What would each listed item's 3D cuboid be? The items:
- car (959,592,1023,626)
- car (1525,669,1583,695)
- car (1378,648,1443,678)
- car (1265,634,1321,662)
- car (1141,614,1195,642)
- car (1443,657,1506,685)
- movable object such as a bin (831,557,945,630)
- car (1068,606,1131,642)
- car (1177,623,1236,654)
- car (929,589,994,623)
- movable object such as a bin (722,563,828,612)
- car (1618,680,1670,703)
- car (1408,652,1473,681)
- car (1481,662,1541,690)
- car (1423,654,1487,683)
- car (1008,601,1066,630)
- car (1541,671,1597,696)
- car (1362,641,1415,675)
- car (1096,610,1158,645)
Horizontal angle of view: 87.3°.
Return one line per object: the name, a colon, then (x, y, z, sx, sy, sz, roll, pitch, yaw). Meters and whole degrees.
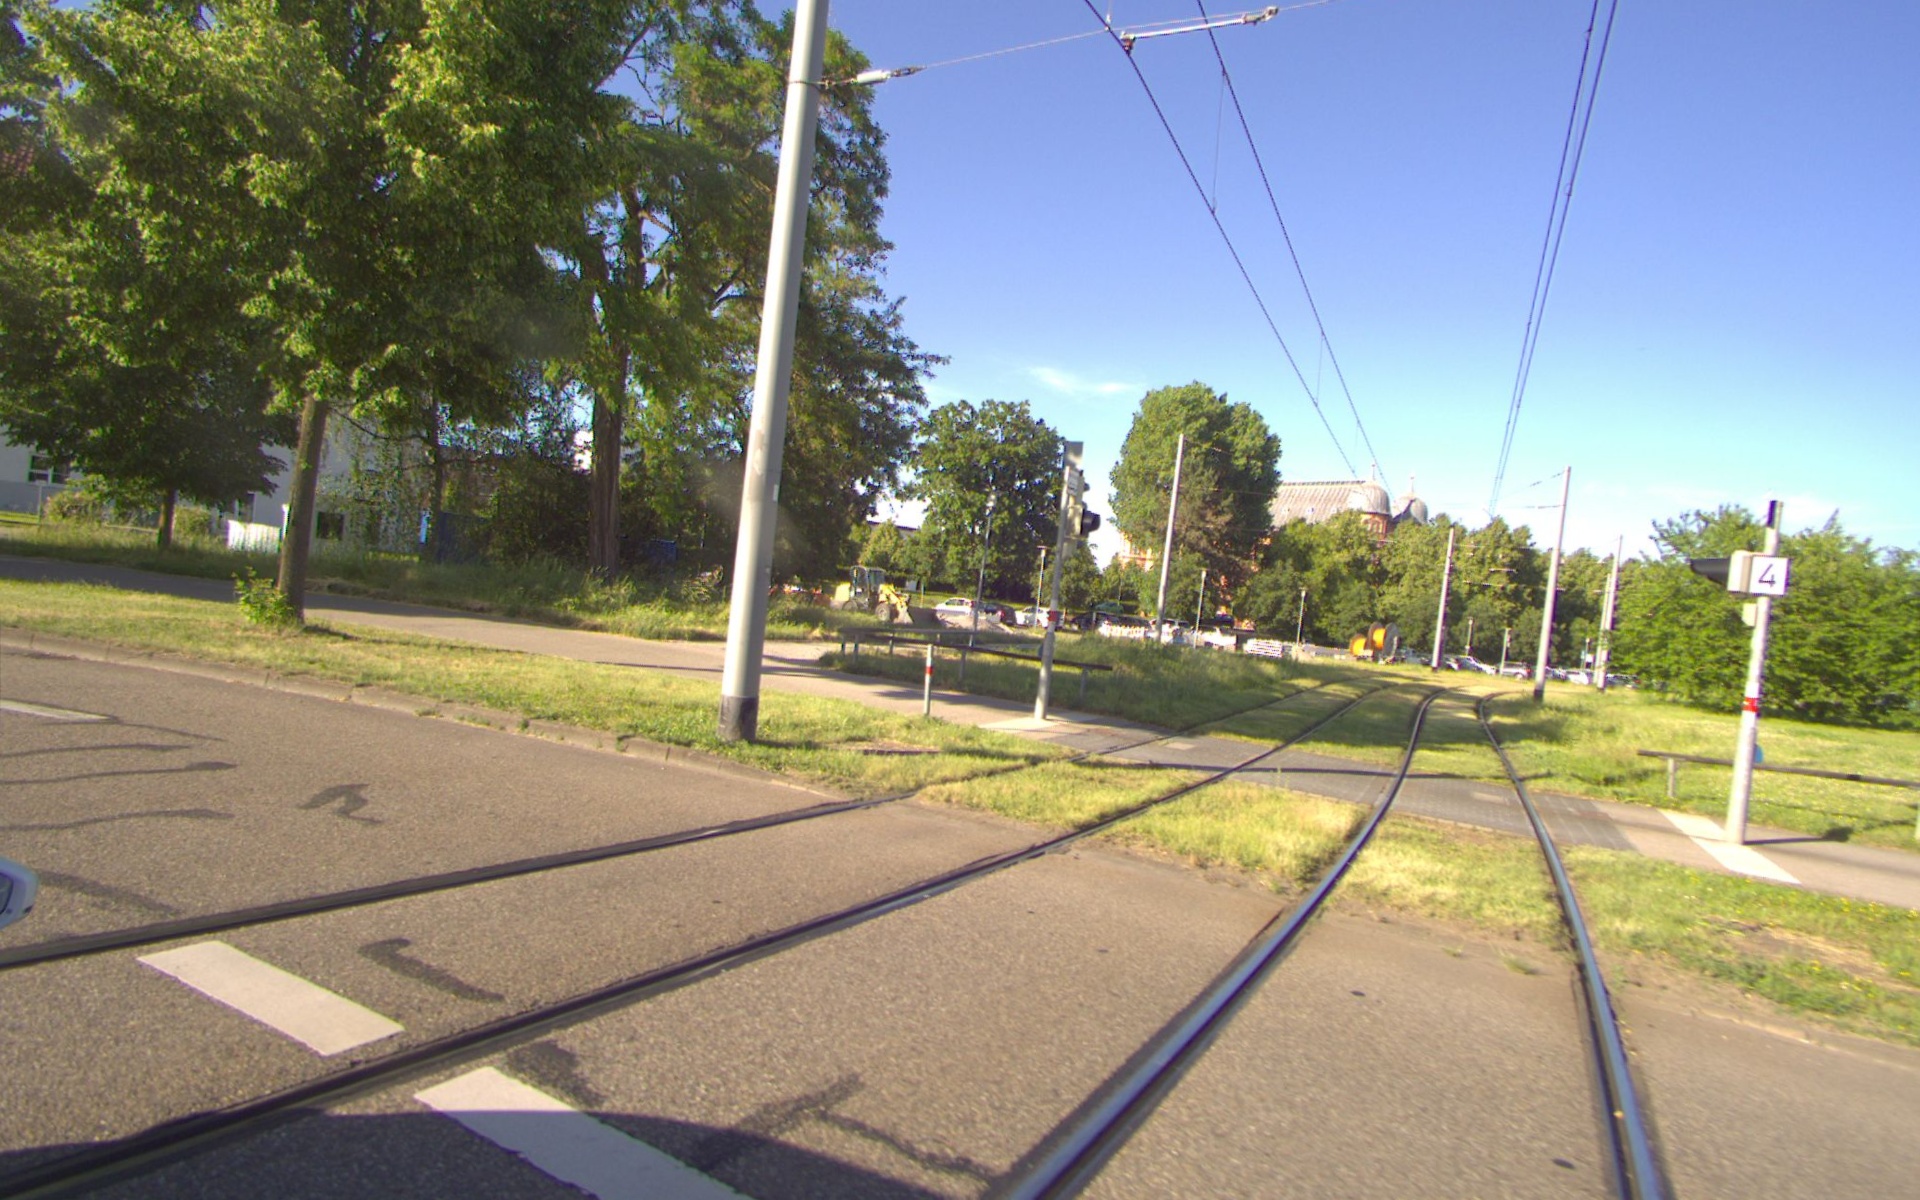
car: (1.970, 0.578, 65.200, 1.984, 1.789, 3.959, 7, -2, -38)
car: (53.531, 7.367, 90.701, 1.899, 1.777, 3.959, 7, -2, -38)
car: (34.094, 4.737, 76.209, 1.984, 1.777, 3.959, 7, -2, -38)
car: (28.598, 4.084, 86.502, 1.984, 1.918, 3.959, 7, -2, -38)
car: (15.685, 2.098, 76.060, 1.678, 1.800, 3.813, 7, -1, -34)
car: (41.324, 5.692, 80.834, 1.899, 1.777, 3.959, 7, -2, -38)
movable object such as a bin: (-3.318, -0.310, 45.562, 4.979, 2.822, 1.991, 5, -1, 42)
car: (9.830, 1.665, 71.036, 1.984, 2.124, 3.959, 7, -1, -38)
car: (19.385, 3.010, 79.183, 1.984, 1.982, 3.959, 7, -1, -38)
car: (0.054, 0.355, 64.184, 1.984, 1.744, 3.959, 7, -2, -38)
movable object such as a bin: (-9.737, -0.647, 53.213, 2.211, 1.971, 4.995, 5, -2, 44)
car: (70.085, 9.343, 103.135, 1.899, 1.777, 3.959, 7, -2, -38)
car: (37.233, 5.146, 78.023, 1.899, 1.777, 3.959, 7, -2, -38)
car: (46.575, 6.413, 85.082, 1.899, 1.777, 3.959, 7, -2, -38)
car: (39.135, 5.409, 79.619, 1.899, 1.777, 3.959, 7, -2, -38)
car: (5.146, 1.044, 67.683, 1.817, 1.574, 3.771, 7, -2, -36)
car: (56.174, 7.730, 92.819, 1.899, 1.777, 3.959, 7, -2, -38)
car: (40.670, 5.492, 95.482, 1.984, 2.684, 3.959, 7, -1, -38)
car: (12.057, 1.973, 72.900, 1.984, 2.124, 3.959, 7, -1, -38)
